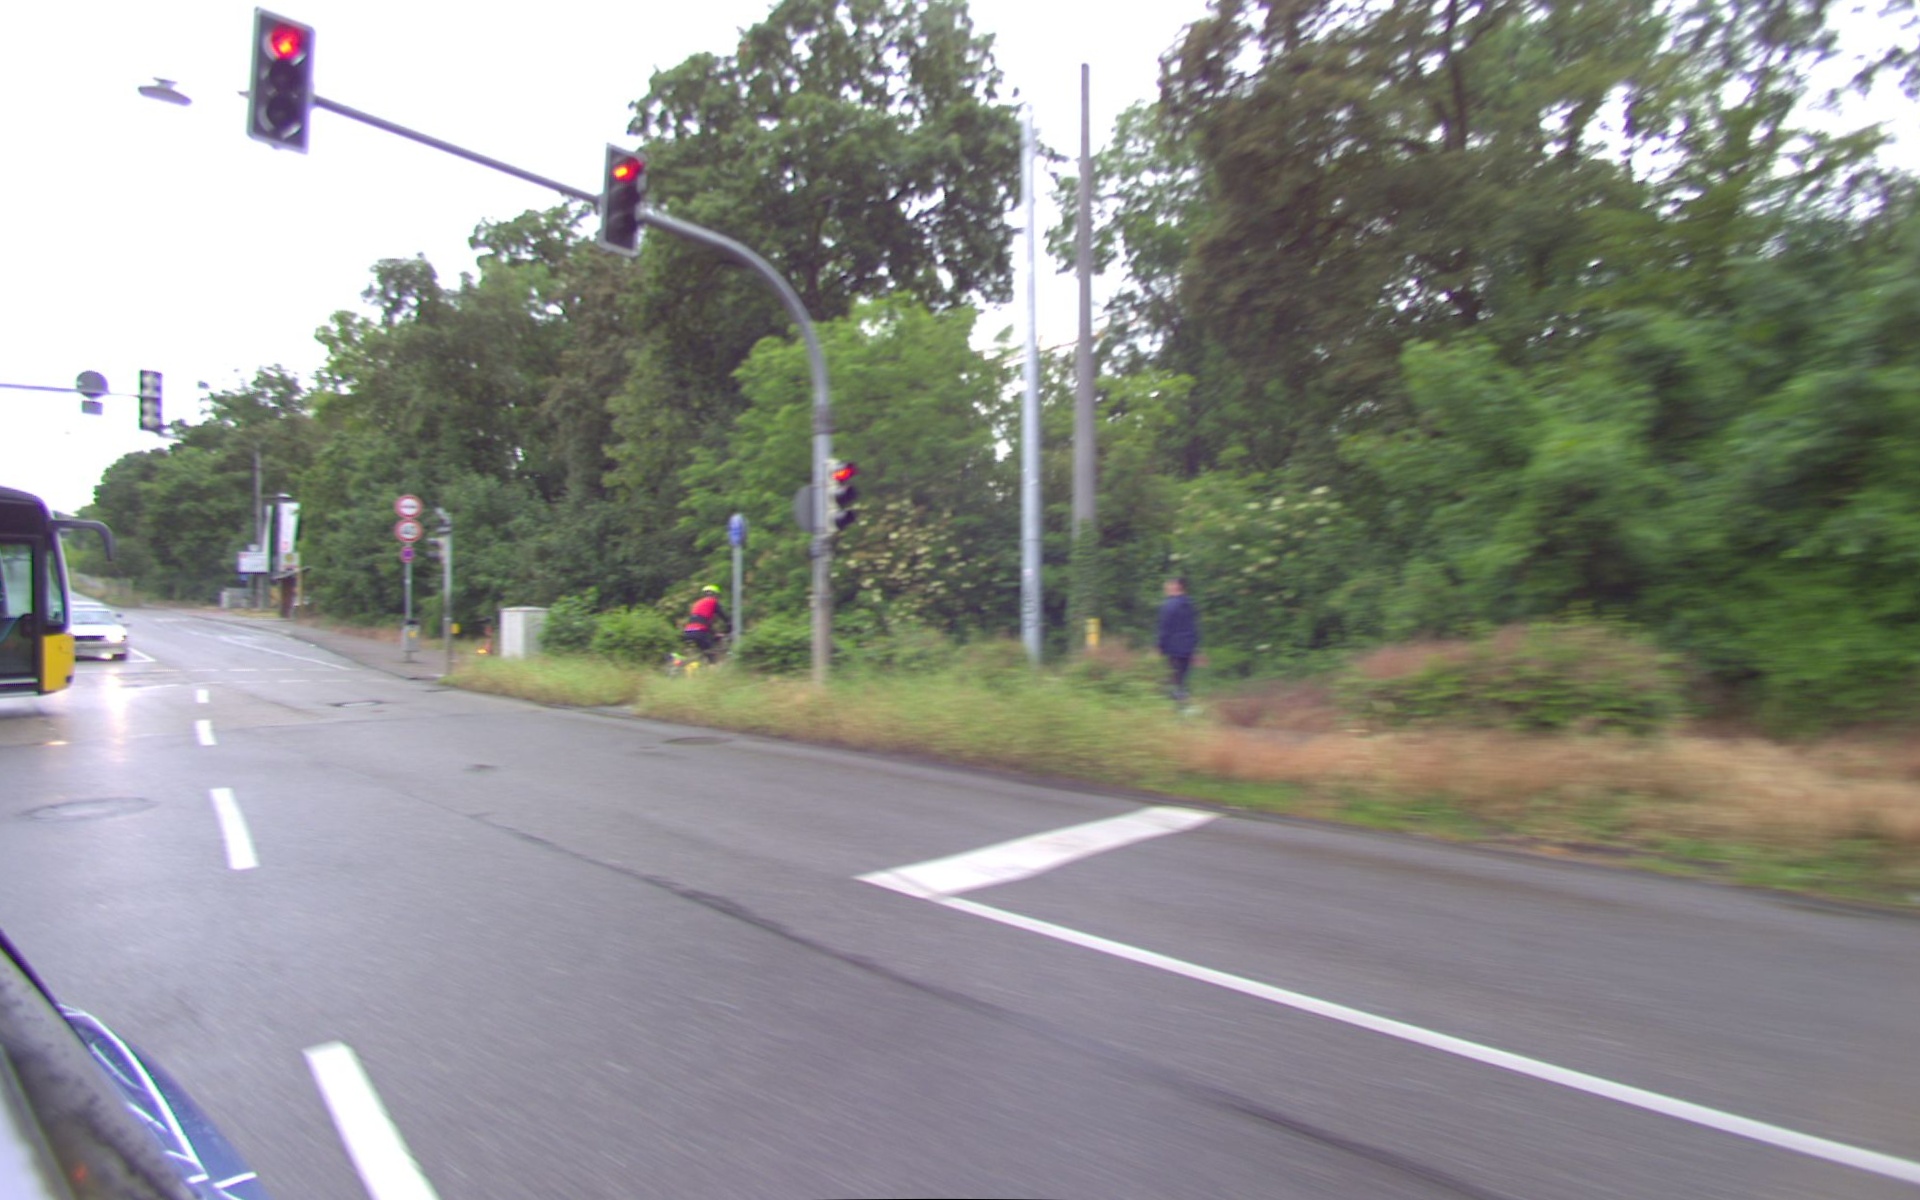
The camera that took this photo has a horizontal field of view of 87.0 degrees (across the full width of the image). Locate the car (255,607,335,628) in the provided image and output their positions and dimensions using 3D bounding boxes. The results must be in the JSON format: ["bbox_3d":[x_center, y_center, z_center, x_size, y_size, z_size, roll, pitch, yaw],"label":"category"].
[{"bbox_3d":[-41.322,1.063,62.967,3.941,1.209,1.607,0,0,-45],"label":"car"}]

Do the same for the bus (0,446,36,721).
[{"bbox_3d":[-15.294,-0.165,9.807,2.898,3.424,8.945,-1,-1,31],"label":"bus"}]

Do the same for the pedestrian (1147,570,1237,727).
[{"bbox_3d":[2.808,0.559,12.249,0.767,1.813,0.764,0,-1,-44],"label":"pedestrian"}]

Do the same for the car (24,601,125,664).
[{"bbox_3d":[-22.554,0.770,25.750,1.797,1.364,4.005,1,1,-43],"label":"car"}]

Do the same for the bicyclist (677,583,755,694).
[{"bbox_3d":[-3.774,0.571,15.684,1.032,1.665,0.581,-1,1,-40],"label":"bicyclist"}]

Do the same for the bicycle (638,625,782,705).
[{"bbox_3d":[-3.828,0.967,15.644,2.120,1.105,0.581,-1,1,-40],"label":"bicycle"}]
